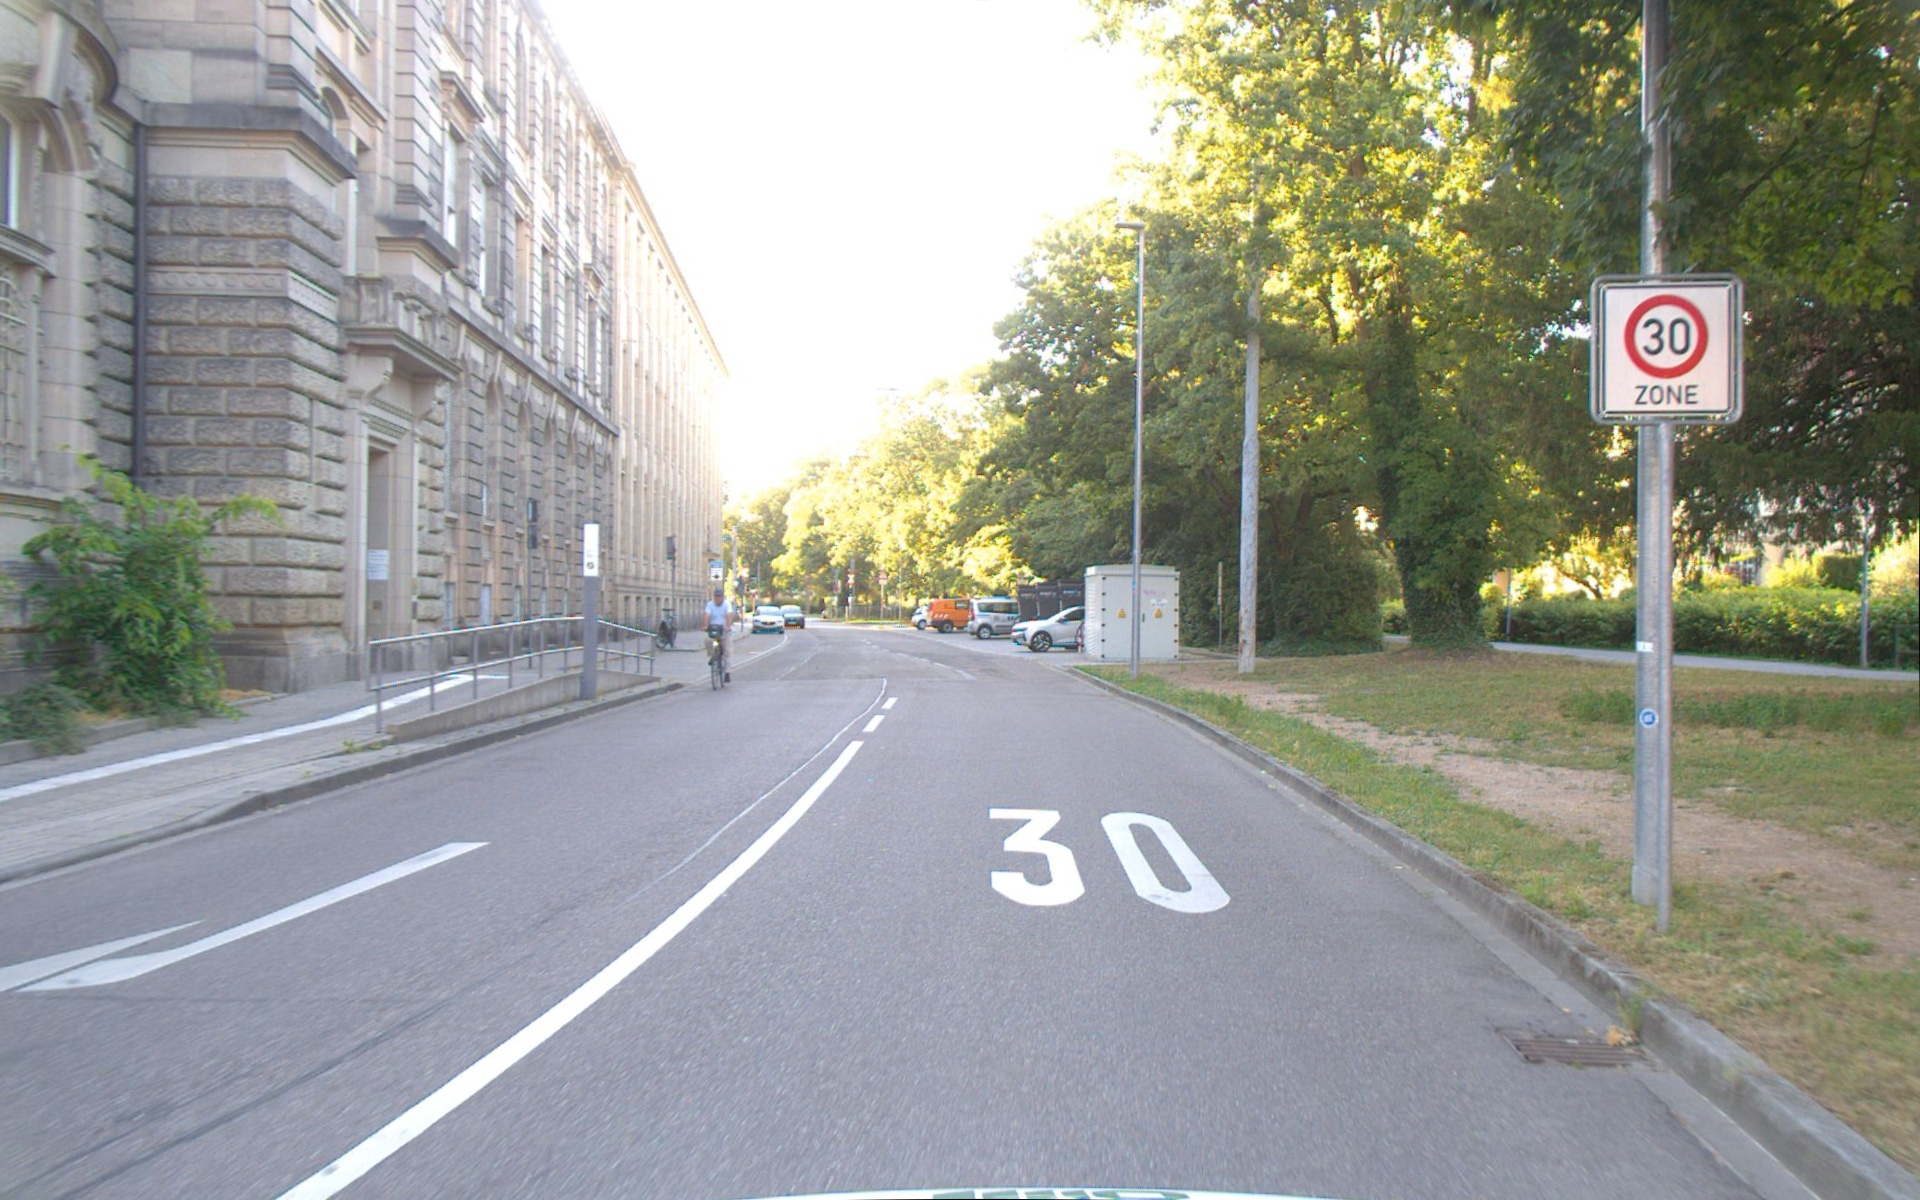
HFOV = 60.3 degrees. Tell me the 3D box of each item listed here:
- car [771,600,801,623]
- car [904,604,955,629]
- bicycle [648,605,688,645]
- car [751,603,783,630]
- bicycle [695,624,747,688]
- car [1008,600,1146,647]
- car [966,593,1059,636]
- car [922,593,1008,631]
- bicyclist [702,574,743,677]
[{"bbox_3d":[-11.532,0.756,109.348,1.843,1.492,4.365,1,0,-8],"label":"car"},{"bbox_3d":[-1.965,1.057,106.272,3.088,1.529,1.536,-1,0,-12],"label":"car"},{"bbox_3d":[-8.602,0.738,48.791,0.835,1.121,1.981,2,0,-1],"label":"bicycle"},{"bbox_3d":[-10.784,0.907,92.094,1.695,1.422,4.365,1,0,-8],"label":"car"},{"bbox_3d":[-4.285,0.985,29.789,0.649,1.089,2.153,0,0,0],"label":"bicycle"},{"bbox_3d":[3.880,0.780,55.197,4.355,1.495,1.780,-1,0,-6],"label":"car"},{"bbox_3d":[2.414,0.678,77.222,4.145,1.892,1.998,-1,-1,-4],"label":"car"},{"bbox_3d":[0.259,0.705,96.417,4.733,2.049,1.797,-1,0,-12],"label":"car"},{"bbox_3d":[-4.283,0.458,29.882,0.632,1.838,0.780,0,0,-1],"label":"bicyclist"}]
